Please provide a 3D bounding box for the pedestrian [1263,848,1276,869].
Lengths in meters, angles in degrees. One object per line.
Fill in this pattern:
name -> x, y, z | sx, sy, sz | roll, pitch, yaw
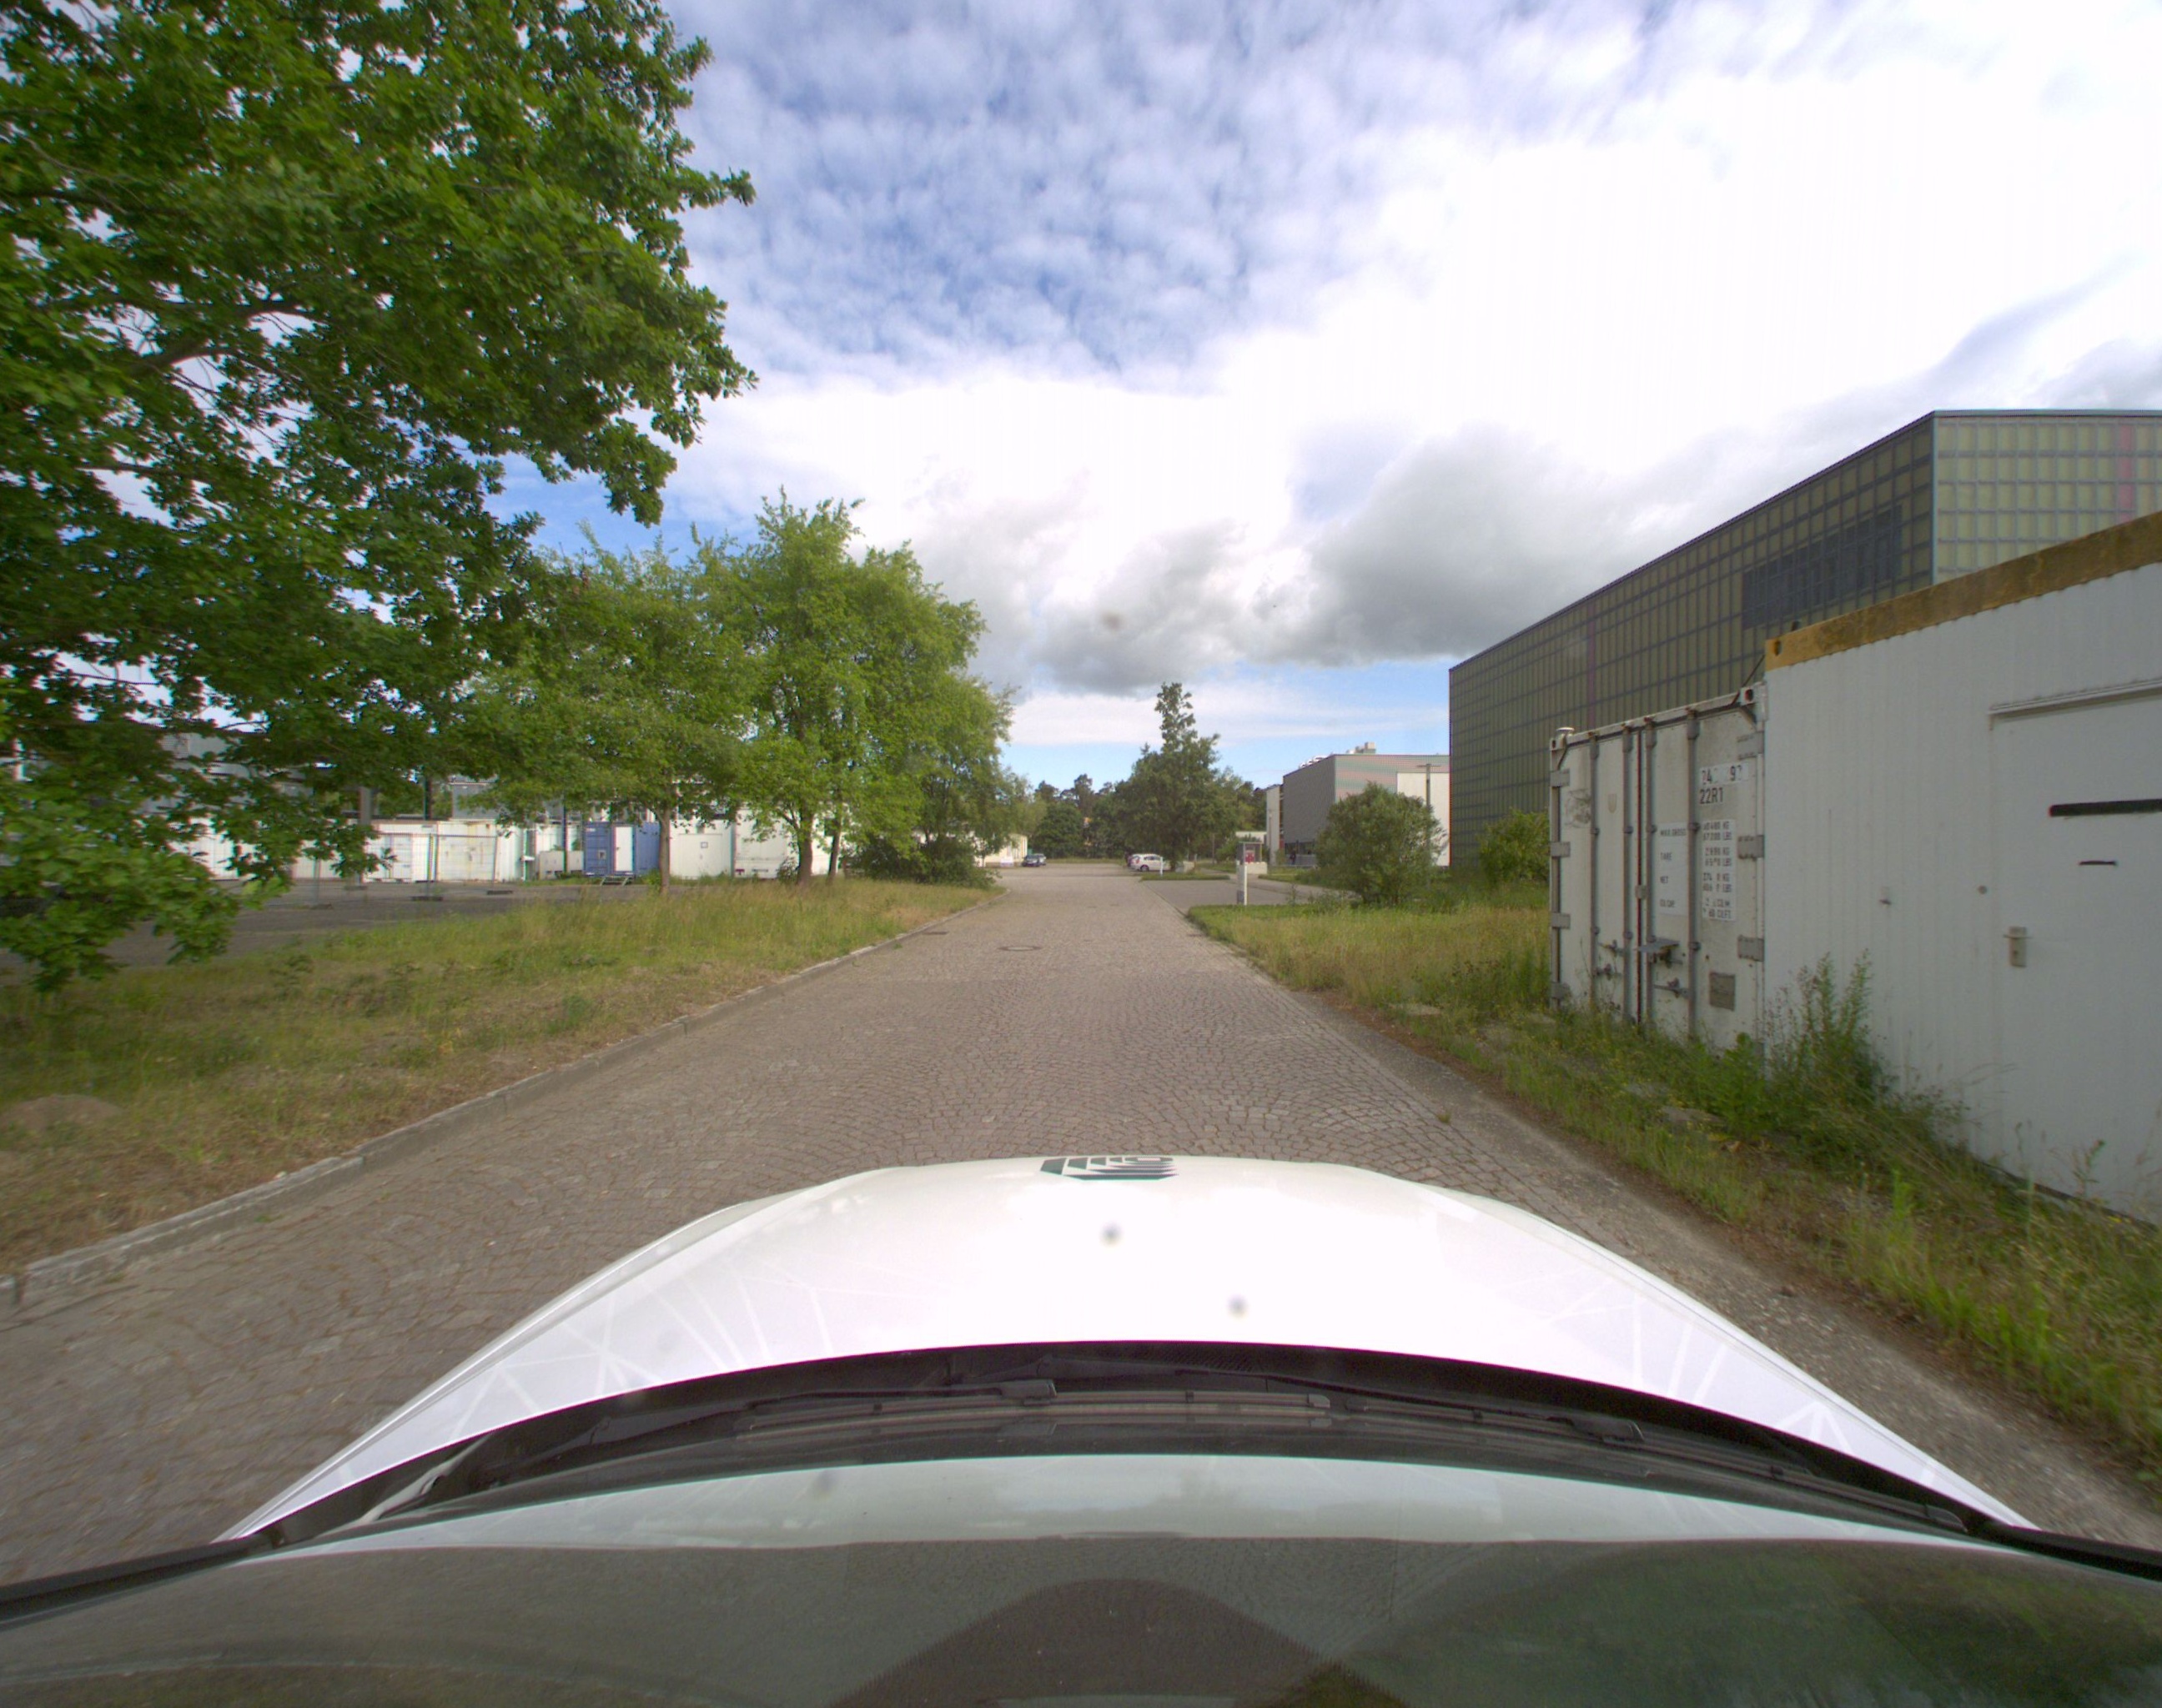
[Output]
pedestrian -> 17.991, 0.427, 77.843 | 0.919, 2.014, 1.145 | 0, 0, -5

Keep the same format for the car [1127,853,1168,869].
car -> 6.721, 0.692, 82.699 | 3.978, 1.533, 1.998 | 0, 0, -3

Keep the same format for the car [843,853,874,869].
car -> -22.290, 0.698, 81.774 | 1.893, 1.575, 4.003 | 0, 0, 3

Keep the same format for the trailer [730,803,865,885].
trailer -> -14.290, -0.451, 42.361 | 2.645, 3.706, 10.731 | 0, 0, 4

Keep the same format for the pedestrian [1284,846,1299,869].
pedestrian -> 17.956, 0.286, 69.595 | 0.922, 1.936, 0.847 | 1, -1, -29

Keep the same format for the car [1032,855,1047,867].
car -> -5.315, 0.888, 103.711 | 1.744, 1.454, 3.998 | 0, 0, -1

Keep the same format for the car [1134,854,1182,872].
car -> 6.515, 0.785, 69.370 | 3.972, 1.455, 2.000 | 1, -1, 1

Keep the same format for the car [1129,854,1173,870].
car -> 6.394, 0.745, 74.582 | 3.972, 1.455, 1.770 | 0, 0, 1

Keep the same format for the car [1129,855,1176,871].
car -> 6.268, 0.785, 71.542 | 3.972, 1.455, 1.698 | 0, 0, 1

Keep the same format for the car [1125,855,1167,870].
car -> 6.325, 0.810, 79.487 | 3.972, 1.455, 1.770 | 0, 0, 1

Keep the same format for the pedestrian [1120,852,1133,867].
pedestrian -> 4.815, 0.610, 86.163 | 0.959, 1.568, 0.949 | 0, 0, 41

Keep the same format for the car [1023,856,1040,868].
car -> -5.661, 0.903, 93.481 | 1.744, 1.364, 3.998 | 0, 0, -1

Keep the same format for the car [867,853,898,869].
car -> -19.656, 0.711, 80.765 | 1.893, 1.575, 4.003 | 0, 0, 3
